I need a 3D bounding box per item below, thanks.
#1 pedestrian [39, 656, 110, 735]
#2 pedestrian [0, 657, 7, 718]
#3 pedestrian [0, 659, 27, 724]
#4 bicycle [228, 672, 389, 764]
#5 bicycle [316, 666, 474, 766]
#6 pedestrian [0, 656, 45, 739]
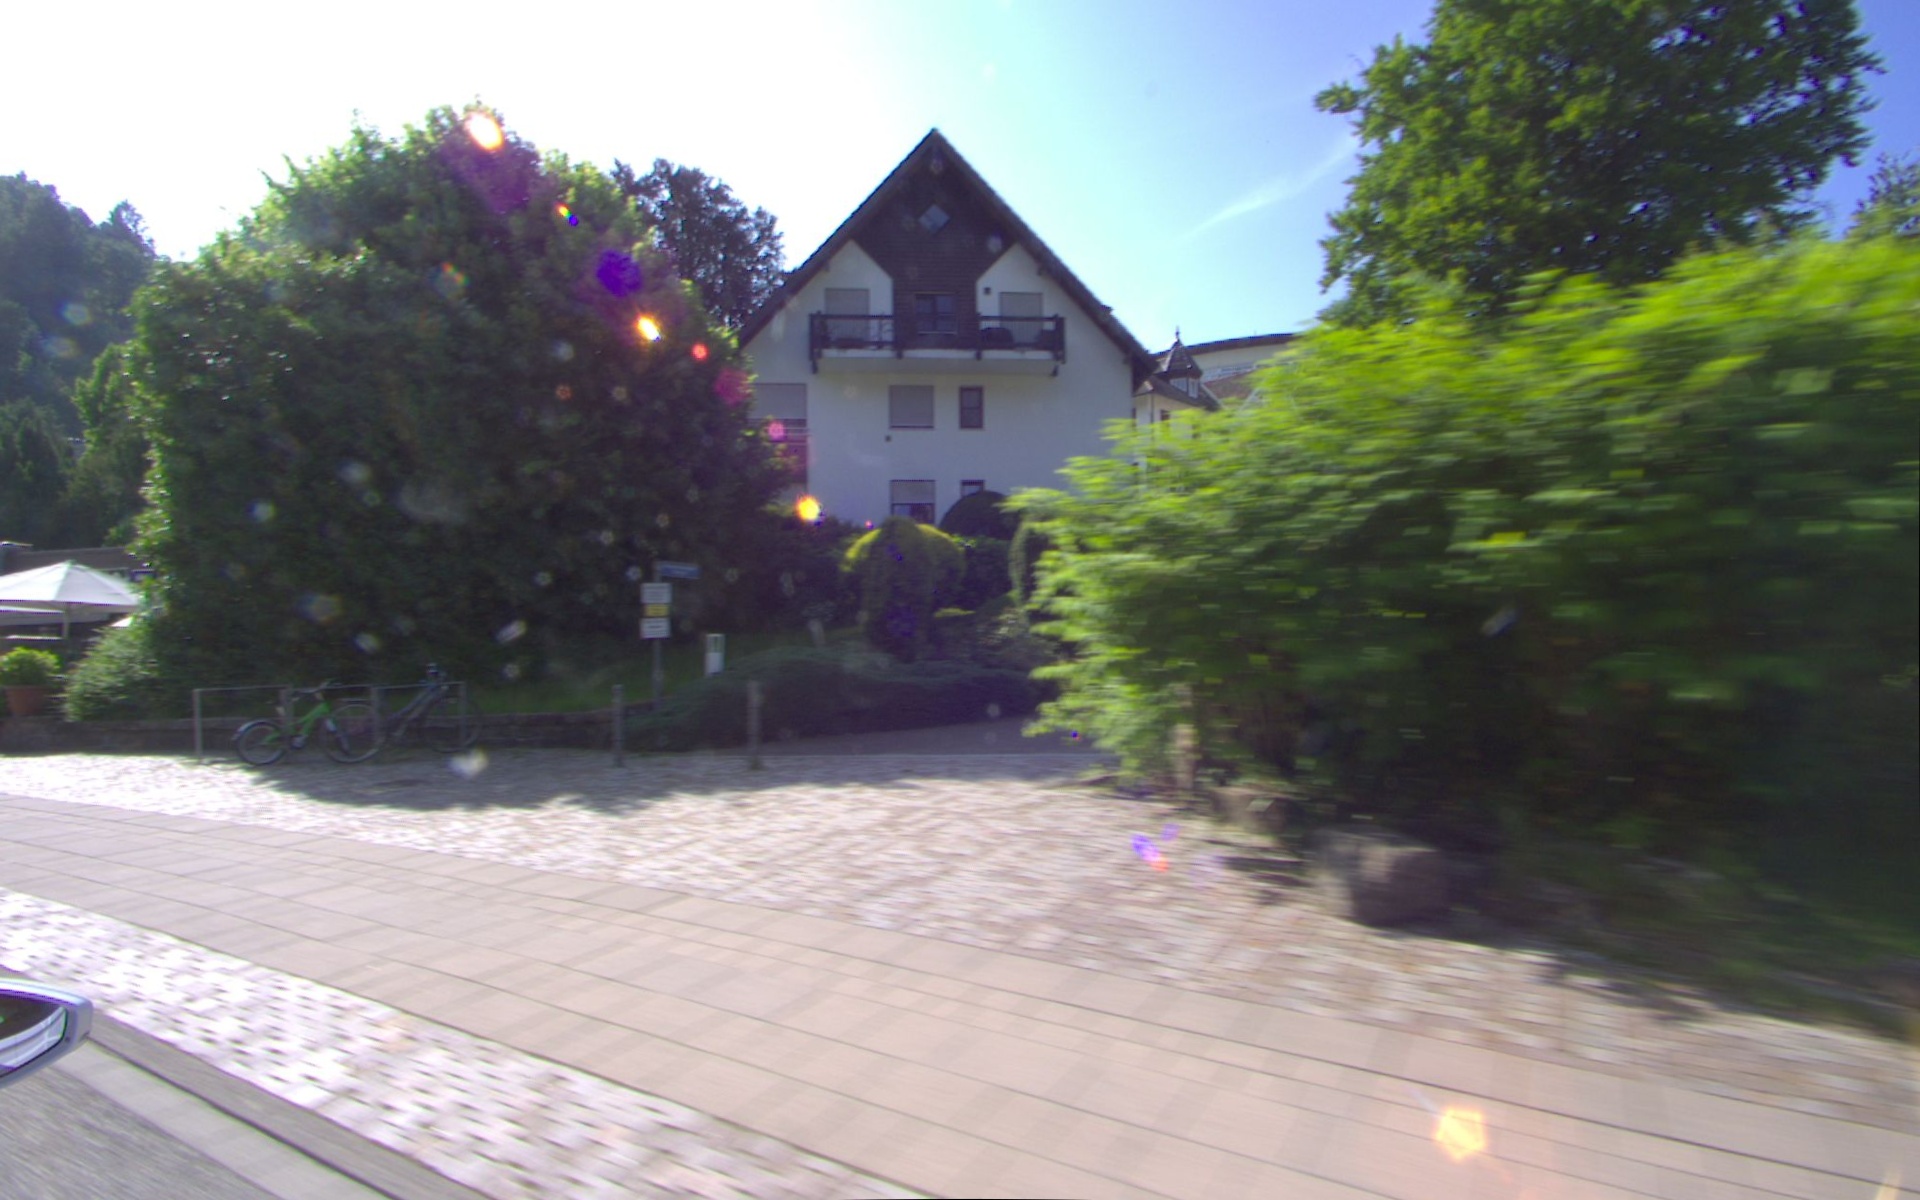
[{"bbox_3d":[-14.994,1.607,16.960,0.633,1.300,0.649,-1,-1,10],"label":"pedestrian"},{"bbox_3d":[-21.163,1.916,21.683,0.571,1.321,0.636,-1,-1,-25],"label":"pedestrian"},{"bbox_3d":[-20.165,1.917,21.051,0.597,1.321,0.531,-1,-1,9],"label":"pedestrian"},{"bbox_3d":[-7.648,1.360,11.807,0.380,0.921,1.533,-1,0,45],"label":"bicycle"},{"bbox_3d":[-6.508,1.308,11.587,0.380,0.996,1.533,-1,-1,45],"label":"bicycle"},{"bbox_3d":[-15.446,1.563,16.059,0.633,1.300,0.951,-1,-1,10],"label":"pedestrian"}]
